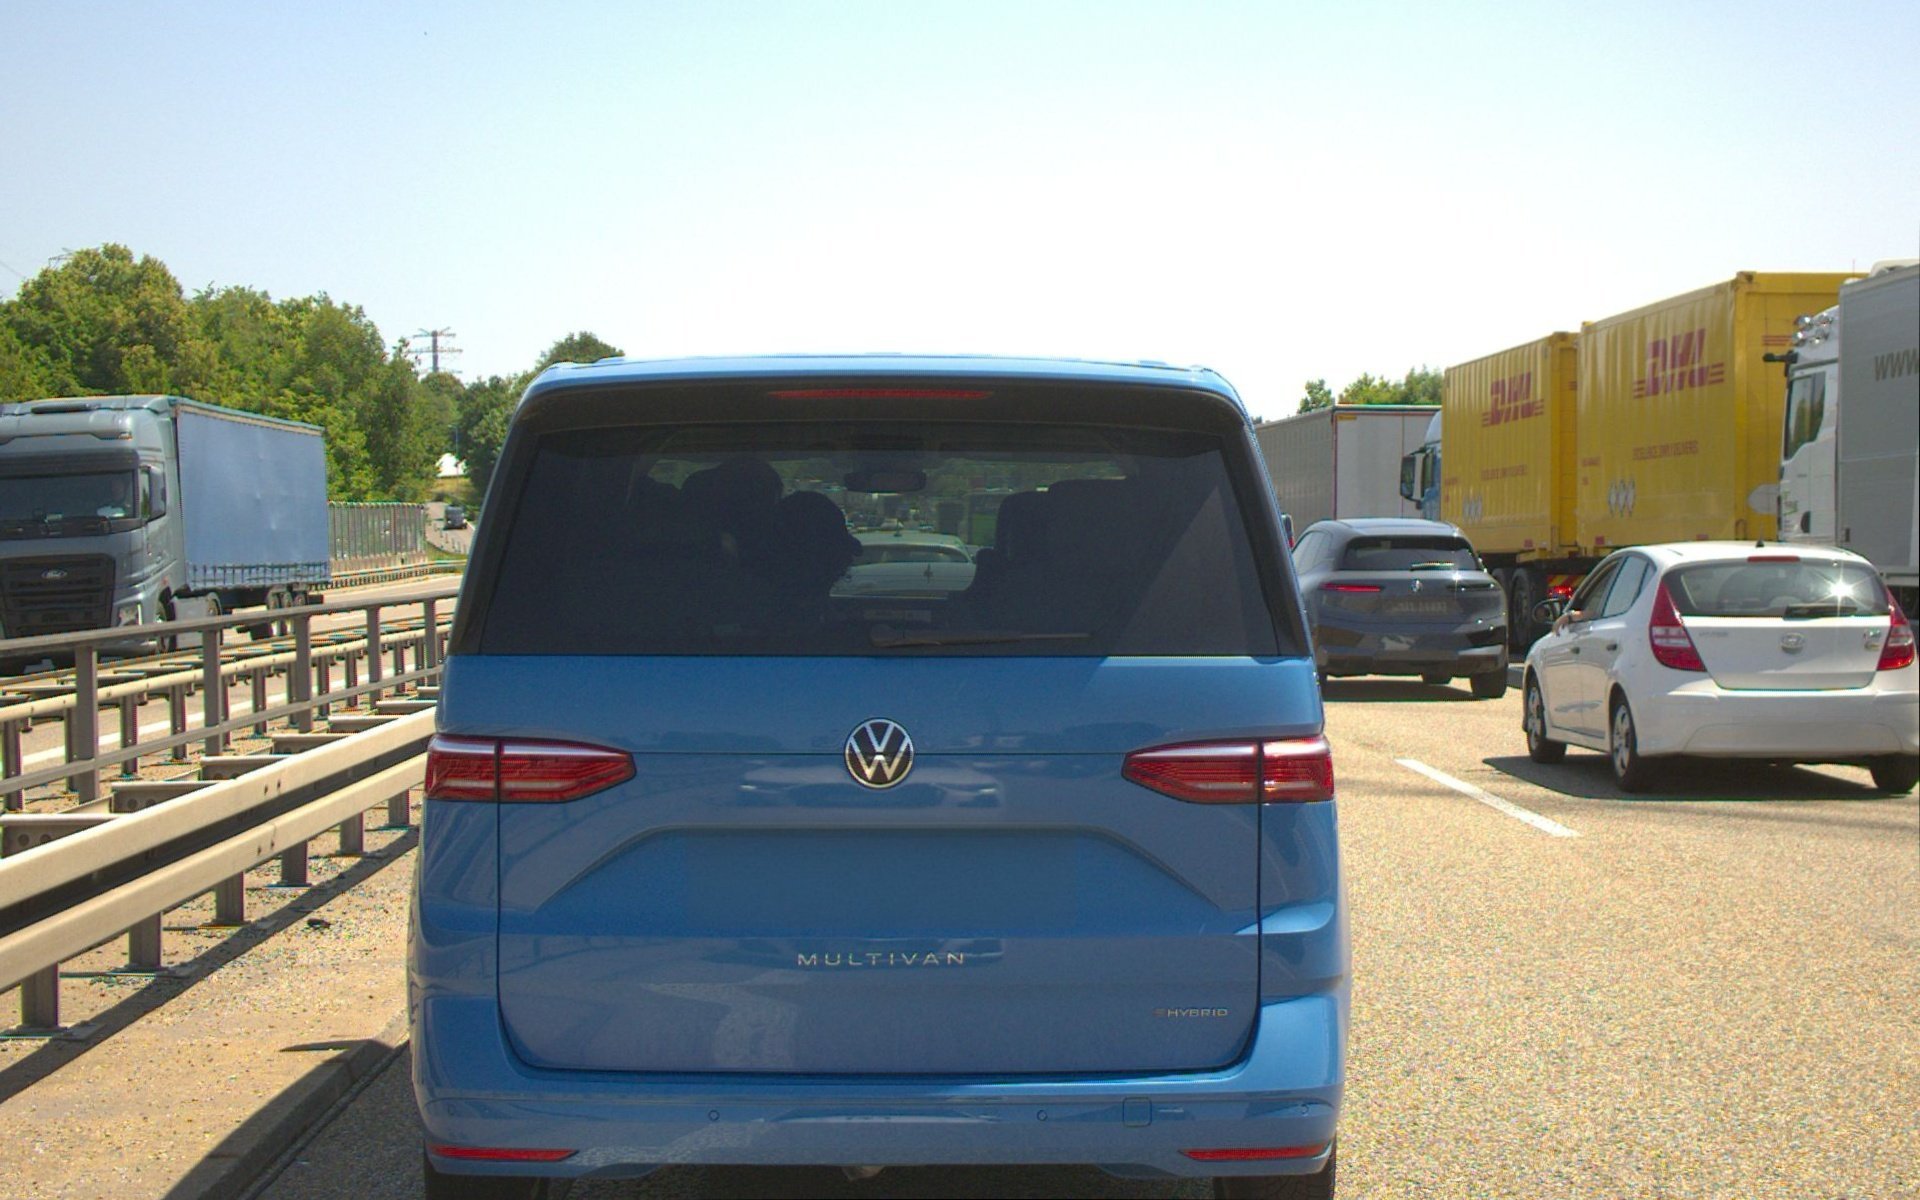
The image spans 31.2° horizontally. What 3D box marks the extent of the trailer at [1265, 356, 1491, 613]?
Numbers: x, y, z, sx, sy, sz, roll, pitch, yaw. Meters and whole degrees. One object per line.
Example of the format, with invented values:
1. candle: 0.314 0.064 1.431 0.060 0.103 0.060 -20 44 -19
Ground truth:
1. trailer: 8.023 -2.140 67.467 3.026 4.595 10.925 1 1 0

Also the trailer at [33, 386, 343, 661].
1. trailer: -12.981 -1.239 59.047 2.704 4.151 12.051 -2 1 -1

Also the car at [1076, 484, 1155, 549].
1. car: 4.244 -2.270 94.535 1.919 1.700 4.000 1 1 -1

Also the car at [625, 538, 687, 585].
1. car: -10.446 -1.324 118.402 1.881 1.547 4.190 1 1 -2

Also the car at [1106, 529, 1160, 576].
1. car: 6.553 -1.791 130.418 1.797 1.745 3.943 1 1 0

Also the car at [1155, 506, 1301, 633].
1. car: 4.237 -0.494 54.839 1.962 1.929 3.932 1 1 -1

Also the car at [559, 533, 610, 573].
1. car: -16.107 -2.017 147.686 1.806 1.634 4.000 -2 1 -2

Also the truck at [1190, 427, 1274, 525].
1. truck: 7.095 -3.216 89.962 1.798 2.441 4.504 1 1 0

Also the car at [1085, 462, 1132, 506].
1. car: 6.294 -4.917 145.730 1.797 1.745 3.943 1 1 0

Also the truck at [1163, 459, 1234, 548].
1. truck: 7.163 -2.881 103.605 1.797 2.587 4.306 1 1 0

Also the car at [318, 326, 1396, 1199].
1. car: -0.208 0.430 8.223 1.930 1.867 4.000 1 1 -1

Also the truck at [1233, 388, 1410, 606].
1. truck: 7.988 -2.226 76.909 3.026 4.595 7.921 1 1 0

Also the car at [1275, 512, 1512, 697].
1. car: 4.154 0.022 33.489 1.815 1.673 3.932 1 1 0

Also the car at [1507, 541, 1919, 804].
1. car: 4.674 0.389 21.344 1.815 1.465 3.932 1 1 -2

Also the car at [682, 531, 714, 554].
1. car: -17.458 -3.854 229.317 1.871 1.437 4.386 -2 1 -1

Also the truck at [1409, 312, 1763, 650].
1. truck: 8.259 -1.494 46.778 2.699 4.074 9.941 1 1 -2

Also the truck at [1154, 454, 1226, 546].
1. truck: 6.592 -2.850 98.789 1.742 2.540 4.210 1 1 0

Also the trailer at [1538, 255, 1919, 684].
1. trailer: 8.540 -1.284 37.328 2.682 4.074 8.981 1 1 -2

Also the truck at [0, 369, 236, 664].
1. truck: -12.860 -1.194 51.351 2.753 4.102 6.266 -1 1 -1

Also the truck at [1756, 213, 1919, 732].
1. truck: 8.669 -0.946 25.515 2.852 3.921 10.610 1 1 -1

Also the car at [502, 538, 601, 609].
1. car: -9.329 -0.610 78.696 1.881 1.547 4.190 1 1 -2
